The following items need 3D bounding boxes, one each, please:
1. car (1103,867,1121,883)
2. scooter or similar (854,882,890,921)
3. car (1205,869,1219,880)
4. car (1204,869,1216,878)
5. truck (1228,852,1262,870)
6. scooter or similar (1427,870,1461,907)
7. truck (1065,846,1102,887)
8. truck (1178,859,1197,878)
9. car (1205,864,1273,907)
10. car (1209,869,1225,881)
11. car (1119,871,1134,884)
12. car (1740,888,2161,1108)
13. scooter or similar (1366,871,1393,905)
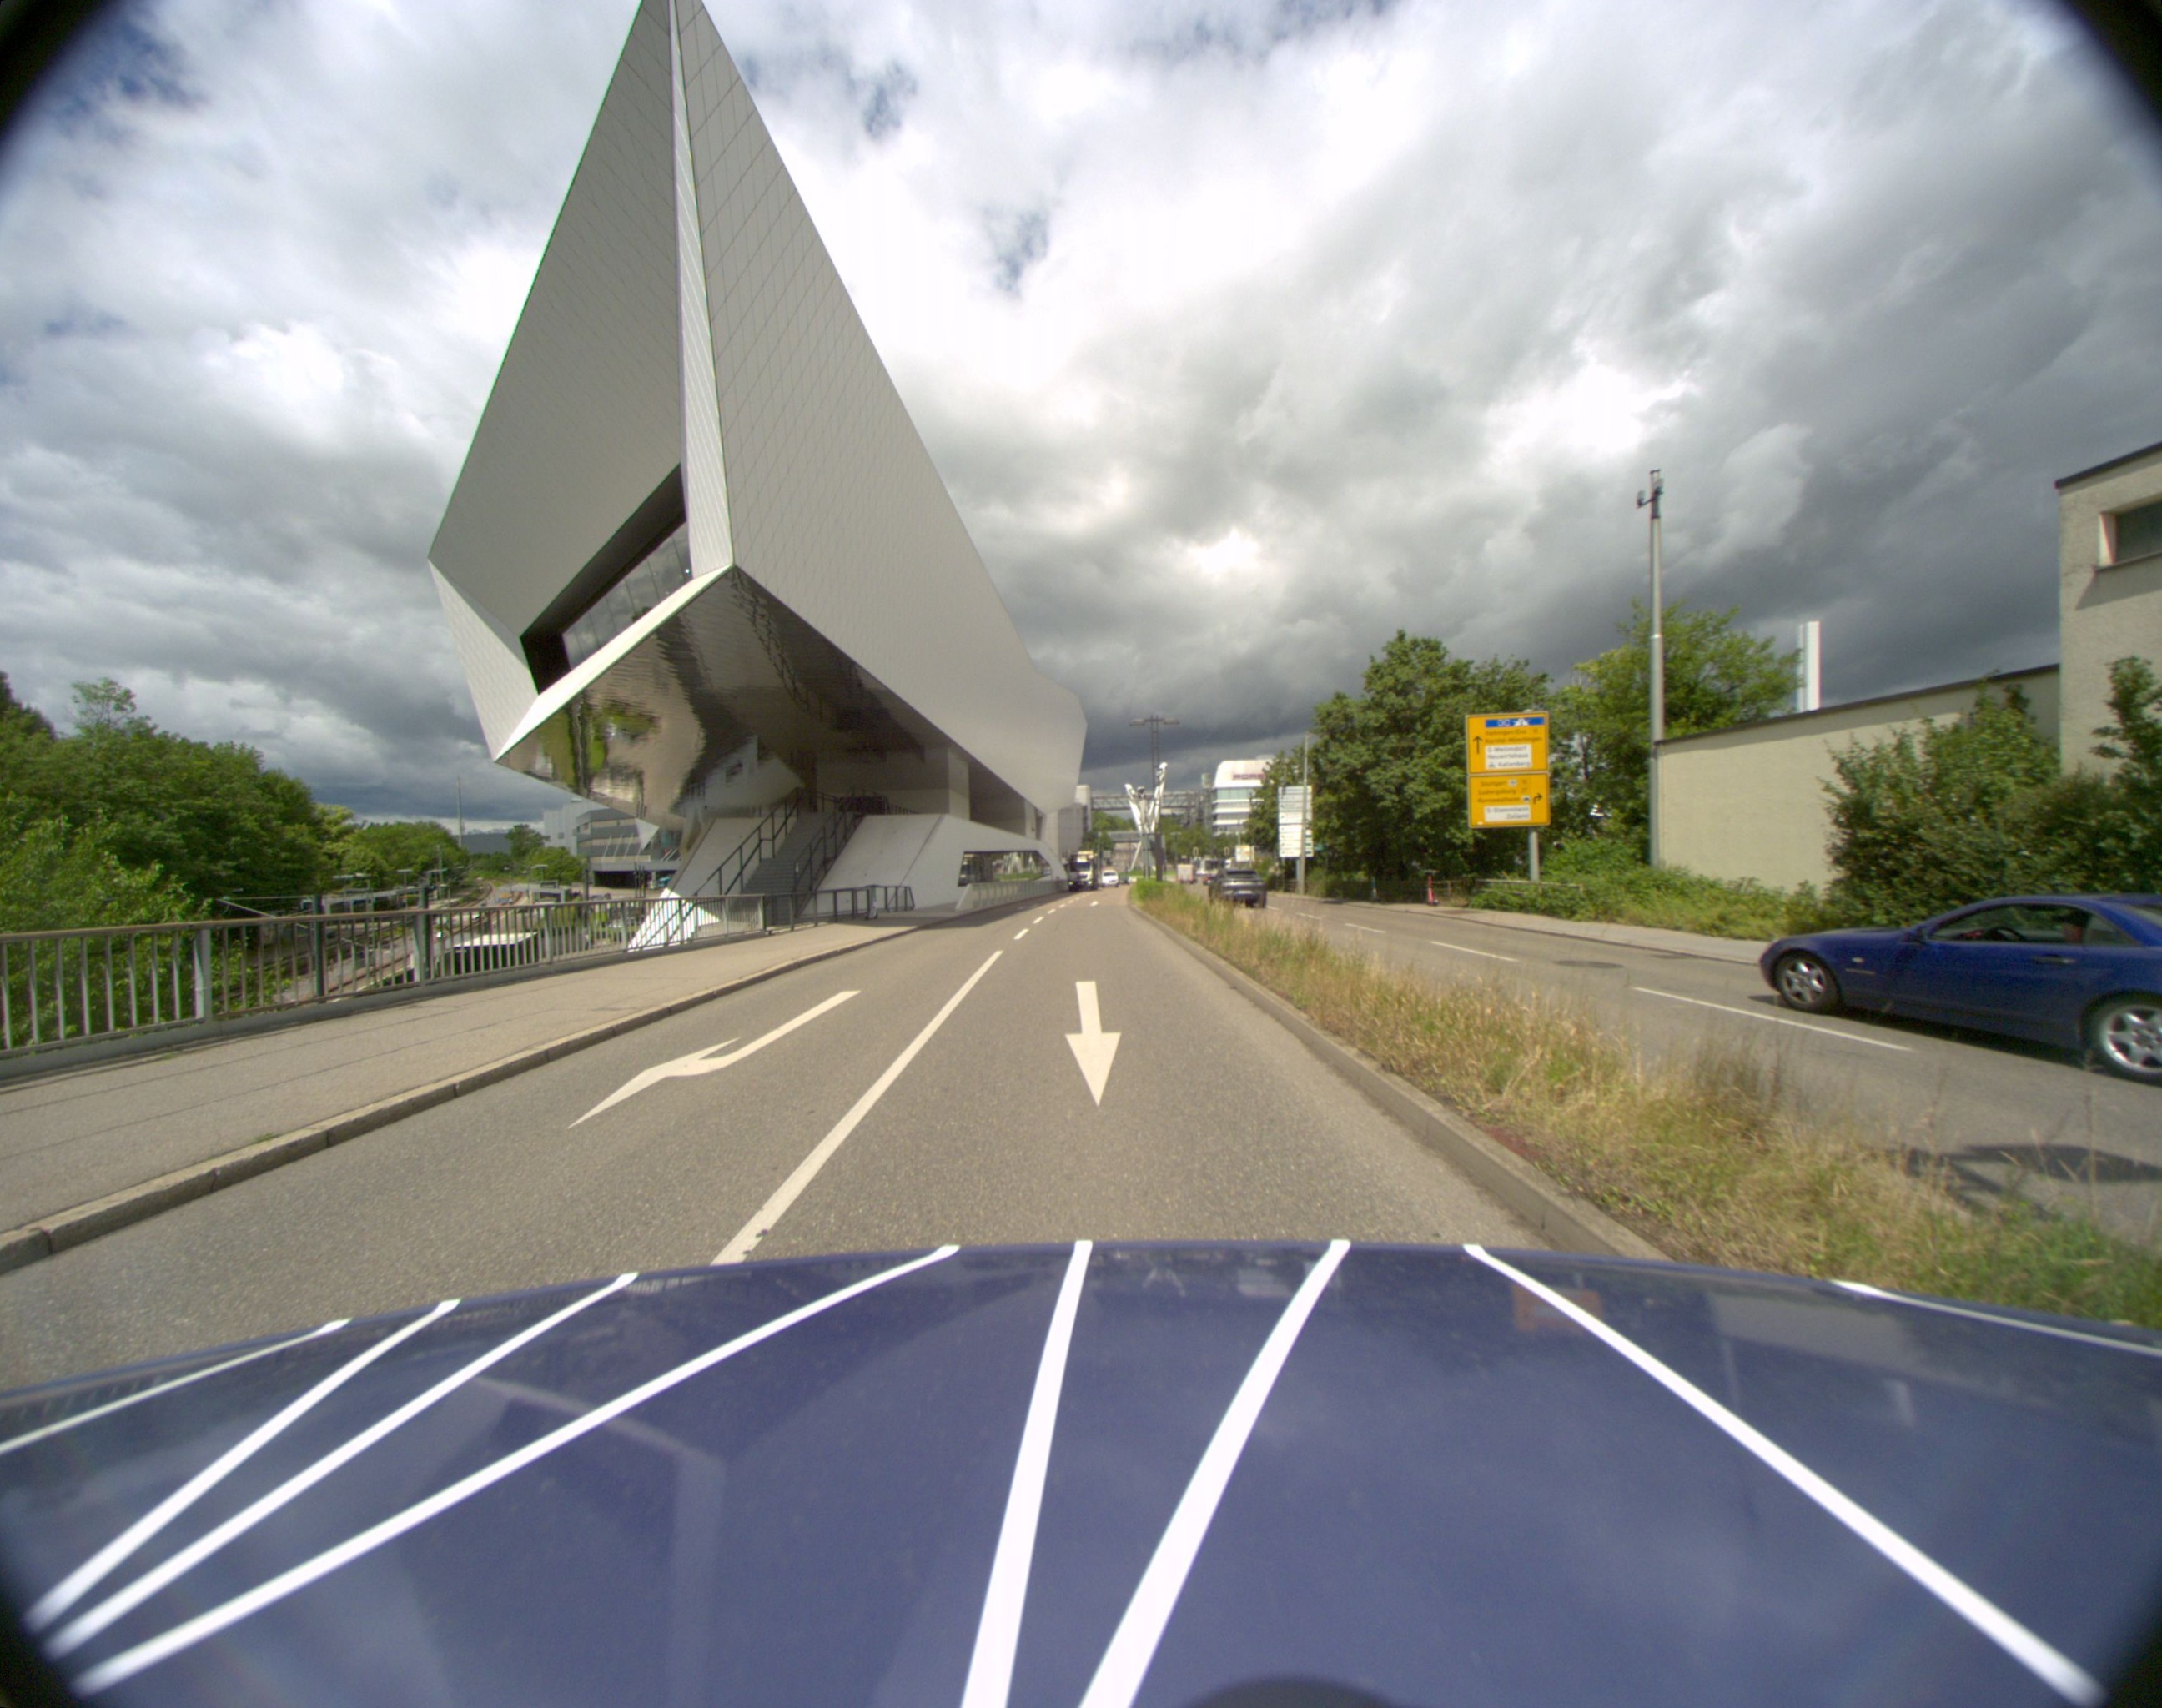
[{"bbox_3d":[3.634,2.447,88.895,1.986,1.702,4.761,-2,1,3],"label":"car"},{"bbox_3d":[-6.942,1.548,25.266,0.655,1.206,1.858,-1,-1,0],"label":"scooter or similar"},{"bbox_3d":[18.851,2.960,109.619,1.843,1.498,4.565,-1,-1,7],"label":"car"},{"bbox_3d":[20.695,3.134,121.584,1.799,1.413,4.497,0,-1,11],"label":"car"},{"bbox_3d":[36.801,1.647,171.155,2.364,3.545,8.974,-2,-2,-25],"label":"truck"},{"bbox_3d":[12.312,1.150,25.831,0.492,1.208,1.644,-1,-1,6],"label":"scooter or similar"},{"bbox_3d":[0.368,1.239,75.375,2.842,3.668,10.759,-1,-1,4],"label":"truck"},{"bbox_3d":[17.761,2.437,126.211,2.861,2.839,9.388,-2,-3,8],"label":"truck"},{"bbox_3d":[6.296,1.237,30.810,1.882,1.617,4.444,0,-1,0],"label":"car"},{"bbox_3d":[23.161,3.532,129.010,1.996,1.946,4.635,-2,-1,17],"label":"car"},{"bbox_3d":[6.447,3.279,106.401,1.817,1.662,4.245,-1,0,7],"label":"car"},{"bbox_3d":[7.849,1.012,6.035,1.758,1.268,4.000,1,0,1],"label":"car"},{"bbox_3d":[12.026,1.350,30.634,0.492,1.296,1.644,-3,-1,6],"label":"scooter or similar"}]
